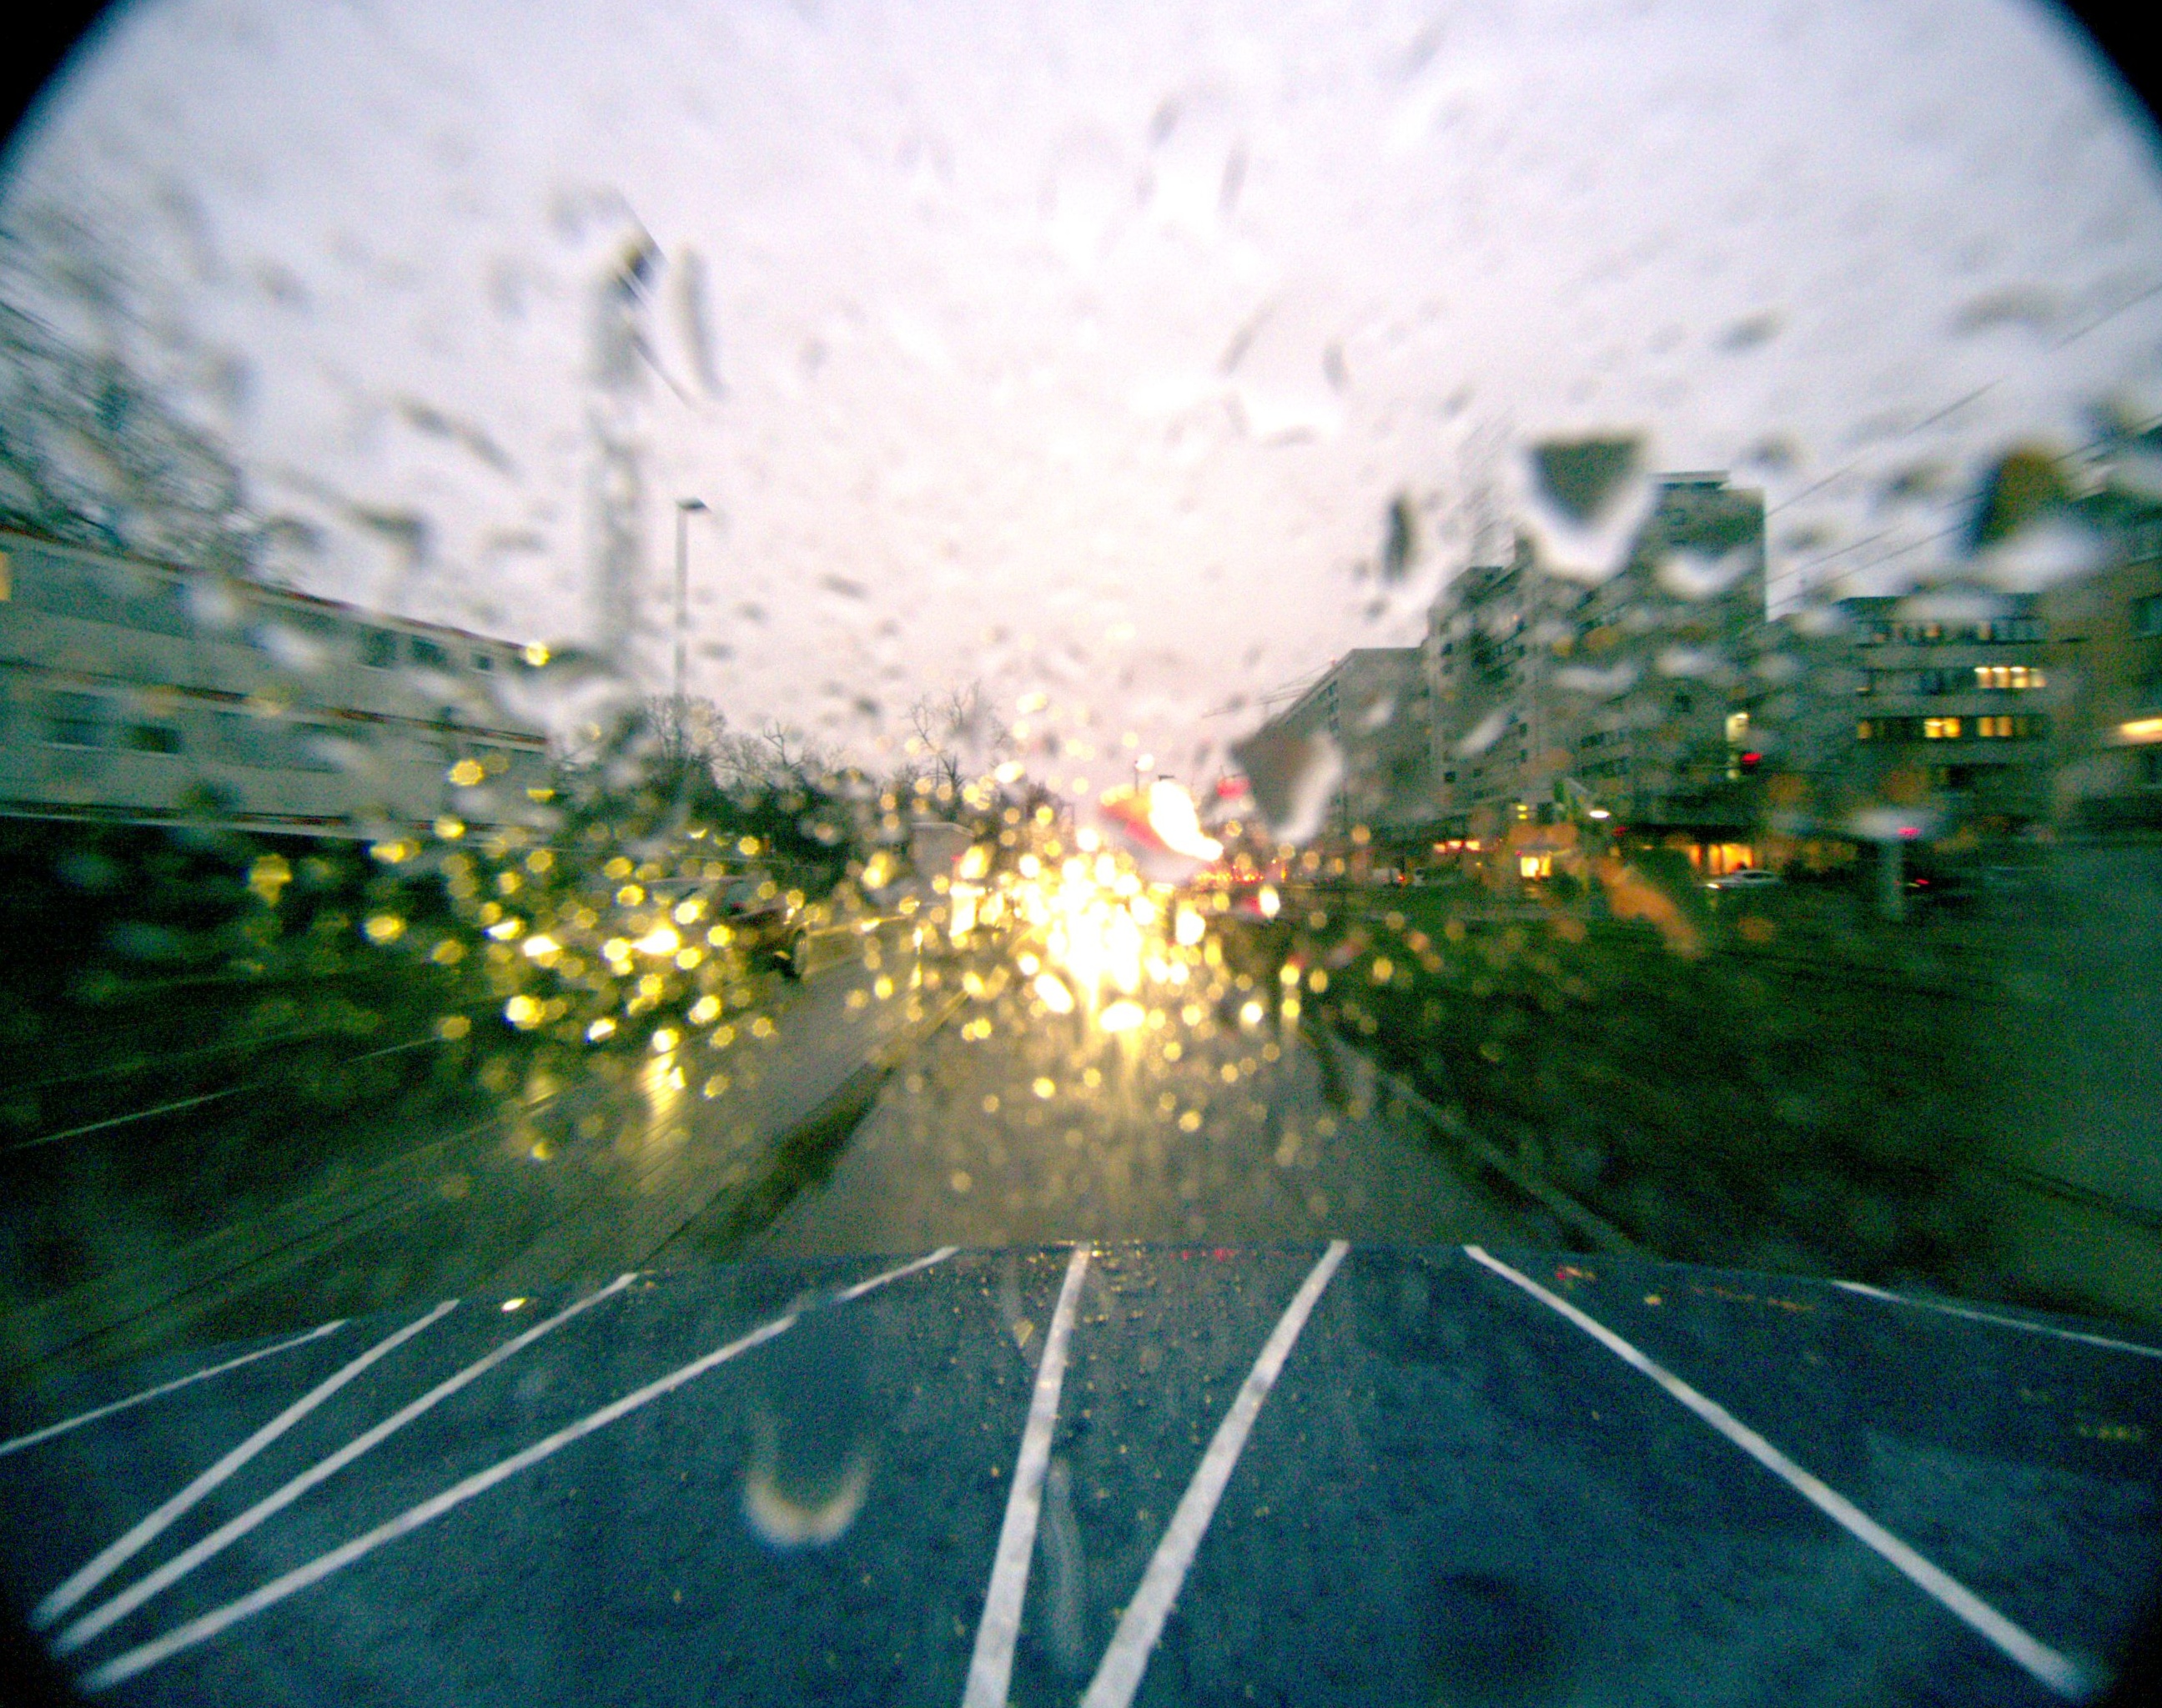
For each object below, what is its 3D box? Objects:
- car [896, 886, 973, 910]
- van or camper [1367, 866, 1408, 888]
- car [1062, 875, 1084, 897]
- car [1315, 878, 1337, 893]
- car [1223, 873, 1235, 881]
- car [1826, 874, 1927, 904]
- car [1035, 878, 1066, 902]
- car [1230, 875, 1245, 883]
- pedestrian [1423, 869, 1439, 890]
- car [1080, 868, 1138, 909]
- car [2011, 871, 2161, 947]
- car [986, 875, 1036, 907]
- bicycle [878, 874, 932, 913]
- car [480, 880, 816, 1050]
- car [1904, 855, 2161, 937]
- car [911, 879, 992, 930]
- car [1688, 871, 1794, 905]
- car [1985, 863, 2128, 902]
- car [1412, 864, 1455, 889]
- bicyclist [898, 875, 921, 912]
[{"bbox_3d":[-9.495,2.853,49.449,4.511,1.480,1.883,-1,-1,9],"label":"car"},{"bbox_3d":[31.171,2.307,77.393,1.998,2.084,5.656,-1,-1,2],"label":"van or camper"},{"bbox_3d":[-0.661,2.726,64.805,1.678,1.738,3.866,-1,-1,2],"label":"car"},{"bbox_3d":[26.985,3.424,83.655,1.995,1.536,4.712,-2,-1,21],"label":"car"},{"bbox_3d":[28.301,4.402,145.622,1.595,1.440,3.874,-1,-1,1],"label":"car"},{"bbox_3d":[44.813,1.921,42.930,1.622,1.591,3.637,-1,-1,-9],"label":"car"},{"bbox_3d":[-2.138,2.555,54.166,1.880,1.489,4.078,-1,-1,2],"label":"car"},{"bbox_3d":[27.166,4.327,131.915,1.754,1.440,3.874,-1,-1,1],"label":"car"},{"bbox_3d":[24.728,1.815,53.672,0.792,1.480,0.631,-1,-1,-6],"label":"pedestrian"},{"bbox_3d":[1.141,1.345,31.037,2.160,1.489,4.008,-1,-1,2],"label":"car"},{"bbox_3d":[24.842,1.239,17.540,1.805,1.575,4.001,-3,-1,1],"label":"car"},{"bbox_3d":[-3.536,1.874,39.051,1.777,1.452,4.043,-1,-1,5],"label":"car"},{"bbox_3d":[-7.992,1.776,34.553,2.244,1.647,0.690,-3,0,6],"label":"bicycle"},{"bbox_3d":[-4.896,1.150,9.358,1.726,1.470,4.001,-3,-1,1],"label":"car"},{"bbox_3d":[21.786,0.869,17.268,1.805,1.575,4.001,-3,-1,1],"label":"car"},{"bbox_3d":[-4.584,1.747,27.568,1.791,1.492,4.968,-2,0,3],"label":"car"},{"bbox_3d":[34.244,1.754,39.489,3.997,1.502,1.686,-3,0,1],"label":"car"},{"bbox_3d":[42.214,1.226,32.946,3.835,1.542,1.778,-1,-1,0],"label":"car"},{"bbox_3d":[31.823,2.017,68.567,1.995,2.001,4.582,-3,-1,45],"label":"car"},{"bbox_3d":[-7.812,1.782,34.573,0.817,1.669,0.697,-1,-1,3],"label":"bicyclist"}]
